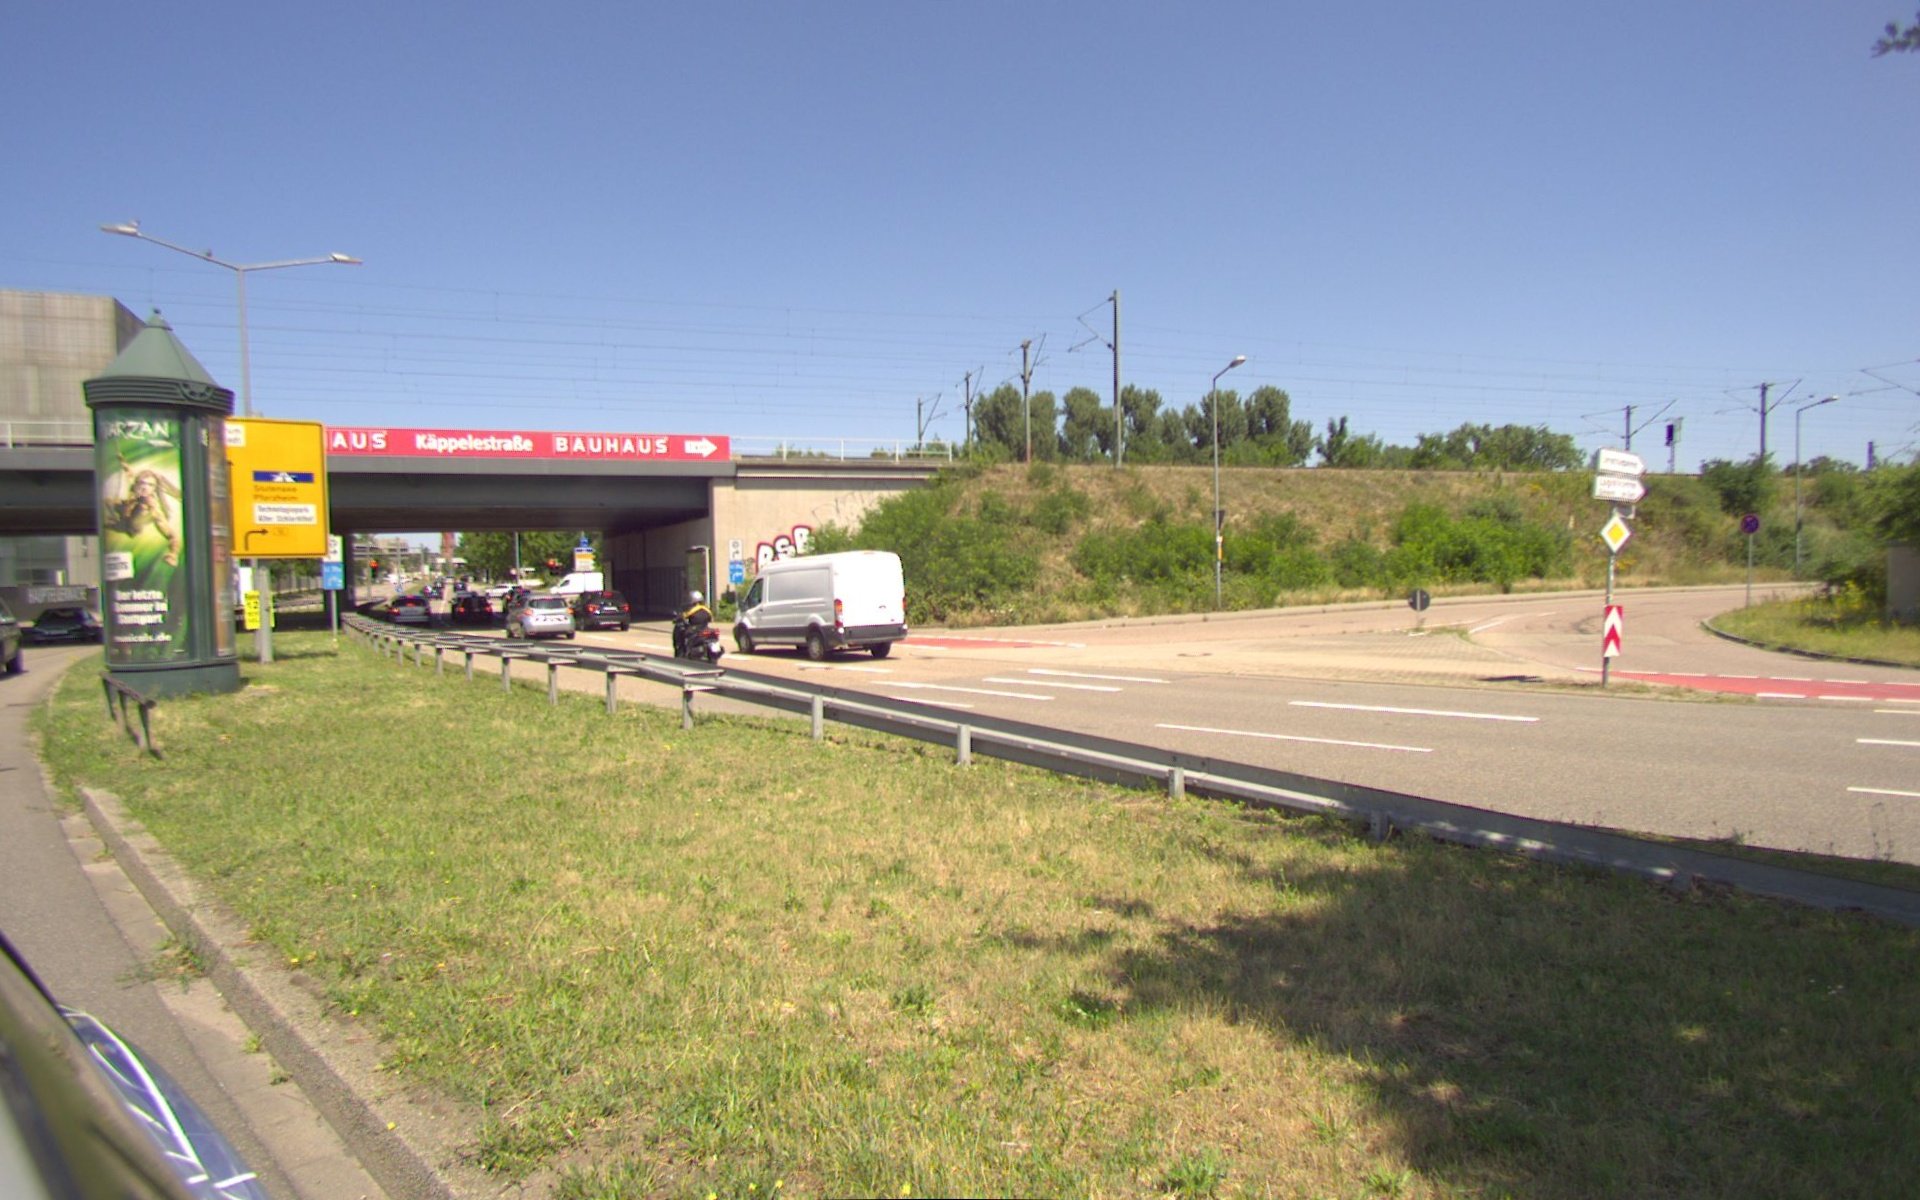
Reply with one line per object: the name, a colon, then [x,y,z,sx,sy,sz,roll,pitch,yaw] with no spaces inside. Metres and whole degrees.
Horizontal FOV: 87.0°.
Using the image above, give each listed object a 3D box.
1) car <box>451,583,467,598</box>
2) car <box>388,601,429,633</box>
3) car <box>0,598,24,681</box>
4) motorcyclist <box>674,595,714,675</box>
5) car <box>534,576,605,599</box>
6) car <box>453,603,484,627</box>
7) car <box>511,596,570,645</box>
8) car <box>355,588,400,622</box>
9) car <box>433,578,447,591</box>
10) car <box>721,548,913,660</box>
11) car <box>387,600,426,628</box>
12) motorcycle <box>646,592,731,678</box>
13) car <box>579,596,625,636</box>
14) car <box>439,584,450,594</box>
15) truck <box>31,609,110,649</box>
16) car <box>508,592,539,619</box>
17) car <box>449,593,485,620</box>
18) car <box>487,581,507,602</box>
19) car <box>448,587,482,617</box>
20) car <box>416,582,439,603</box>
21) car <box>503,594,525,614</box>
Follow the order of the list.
car: [-68.729,-1.287,138.866,1.809,2.029,4.013,-1,1,-28]
car: [-25.449,0.748,46.673,1.611,1.413,4.235,0,0,-29]
car: [-20.741,0.826,20.698,1.816,1.708,3.709,-1,1,-35]
motorcyclist: [-5.513,0.712,21.000,0.580,1.638,0.563,-1,1,-44]
car: [-38.704,-1.226,100.478,6.278,2.118,2.005,-1,1,-11]
car: [-25.994,0.784,53.598,1.250,1.194,2.787,-1,1,-22]
car: [-14.749,0.709,35.467,1.611,1.579,4.085,0,-1,-27]
car: [-33.350,0.260,58.008,1.875,1.874,4.013,-1,1,-25]
car: [-81.931,-2.399,159.382,1.809,2.029,4.013,-1,1,-28]
car: [-3.755,0.182,25.551,2.067,2.519,5.820,-1,-2,-39]
car: [-28.352,0.703,51.868,1.388,1.329,3.272,-1,1,-23]
motorcycle: [-5.710,0.701,21.188,0.591,1.691,2.427,-1,1,-44]
car: [-14.912,0.635,42.072,1.493,1.553,3.692,-1,1,-24]
car: [-106.998,-2.207,210.014,1.965,2.029,4.013,-1,1,-27]
truck: [-37.422,1.186,42.654,1.702,1.513,4.012,-1,1,-30]
car: [-25.736,0.294,59.779,1.548,1.514,3.418,-1,1,-22]
car: [-28.624,0.365,58.820,1.592,1.487,3.444,-1,1,-22]
car: [-47.047,-0.843,102.863,1.678,2.029,4.013,-1,1,-27]
car: [-31.600,0.109,64.650,1.875,1.874,4.013,-1,1,-25]
car: [-53.726,-0.716,102.191,1.965,2.029,4.013,-1,1,-27]
car: [-28.958,0.253,65.755,1.166,1.257,2.701,-1,1,-22]
